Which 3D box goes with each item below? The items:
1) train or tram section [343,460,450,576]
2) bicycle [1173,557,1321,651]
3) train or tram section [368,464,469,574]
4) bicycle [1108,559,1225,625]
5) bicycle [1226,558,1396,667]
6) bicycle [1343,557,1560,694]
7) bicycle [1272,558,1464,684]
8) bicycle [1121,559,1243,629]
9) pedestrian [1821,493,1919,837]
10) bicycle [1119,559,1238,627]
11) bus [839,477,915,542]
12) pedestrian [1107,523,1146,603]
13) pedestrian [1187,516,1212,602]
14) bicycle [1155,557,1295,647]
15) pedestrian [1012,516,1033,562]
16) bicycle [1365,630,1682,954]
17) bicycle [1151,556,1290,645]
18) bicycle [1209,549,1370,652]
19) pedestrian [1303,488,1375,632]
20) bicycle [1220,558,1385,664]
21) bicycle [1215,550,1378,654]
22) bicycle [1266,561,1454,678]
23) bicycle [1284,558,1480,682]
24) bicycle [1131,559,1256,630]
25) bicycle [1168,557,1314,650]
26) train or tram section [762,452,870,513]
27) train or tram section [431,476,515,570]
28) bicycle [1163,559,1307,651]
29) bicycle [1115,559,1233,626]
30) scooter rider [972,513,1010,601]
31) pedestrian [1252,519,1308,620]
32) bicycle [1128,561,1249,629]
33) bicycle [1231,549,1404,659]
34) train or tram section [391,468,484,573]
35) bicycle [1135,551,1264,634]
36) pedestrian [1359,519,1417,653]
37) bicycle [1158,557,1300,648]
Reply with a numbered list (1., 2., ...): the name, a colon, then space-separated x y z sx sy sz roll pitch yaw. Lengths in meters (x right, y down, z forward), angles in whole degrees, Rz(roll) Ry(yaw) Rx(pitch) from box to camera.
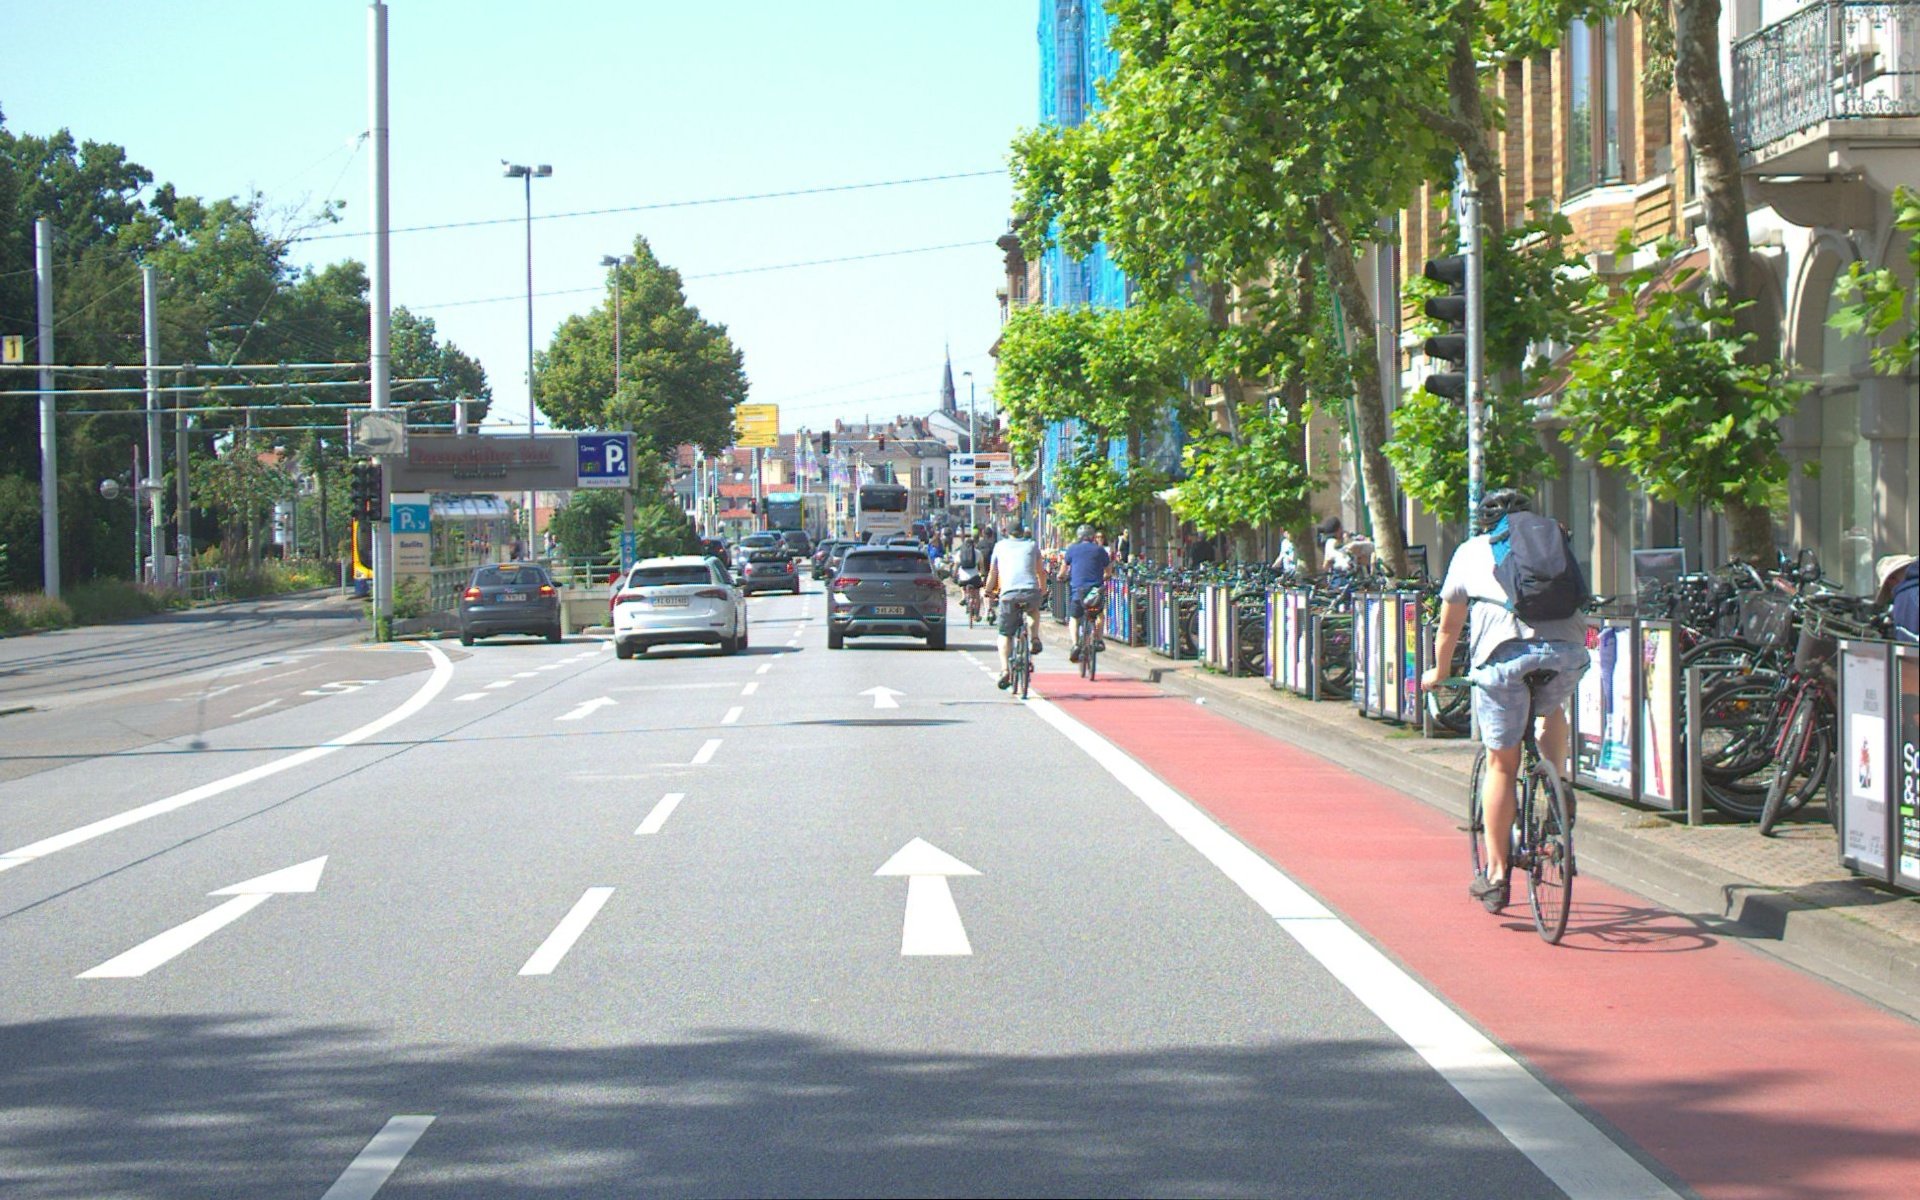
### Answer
1. train or tram section: -18.023 -2.610 110.264 2.613 3.569 6.104 1 1 -2
2. bicycle: 3.531 0.047 42.346 1.752 1.143 0.483 0 1 -4
3. train or tram section: -18.274 -2.706 116.360 2.613 3.569 6.104 1 1 -2
4. bicycle: 3.196 -0.124 53.226 1.752 1.014 0.483 0 1 -4
5. bicycle: 3.758 0.129 36.837 1.752 1.143 0.483 0 1 -4
6. bicycle: 4.161 0.209 29.141 1.752 1.143 0.483 0 1 -4
7. bicycle: 3.888 0.199 32.816 1.752 1.183 0.483 0 1 -4
8. bicycle: 3.297 -0.091 51.061 1.752 1.014 0.483 0 1 -4
9. pedestrian: 4.352 0.291 15.699 0.604 1.533 0.667 1 1 -3
10. bicycle: 3.311 -0.109 52.112 1.752 1.014 0.483 0 1 -4
11. bus: -3.806 -4.071 156.020 2.968 2.767 8.643 1 1 -4
12. pedestrian: 3.920 -0.871 80.752 0.814 1.842 0.891 -2 0 6
13. pedestrian: 4.696 -0.808 67.396 0.380 1.677 0.477 -2 0 -5
14. bicycle: 3.411 0.016 44.334 1.752 1.143 0.483 0 1 -4
15. pedestrian: 2.273 -2.211 124.681 0.654 1.615 0.815 -1 2 -3
16. bicycle: 2.129 0.693 13.288 0.734 1.089 2.131 1 1 -3
17. bicycle: 3.394 -0.001 44.830 1.752 1.143 0.483 0 1 -4
18. bicycle: 3.725 0.000 38.889 1.752 1.143 0.483 0 1 -4
19. pedestrian: 4.353 -0.457 39.506 0.652 1.628 0.730 1 1 -4
20. bicycle: 3.769 0.116 37.877 1.752 1.143 0.483 0 1 -4
21. bicycle: 3.750 0.013 38.378 1.752 1.143 0.483 0 1 -4
22. bicycle: 3.889 0.188 33.442 1.752 1.119 0.483 0 1 -4
23. bicycle: 3.950 0.179 32.222 1.752 1.143 0.483 0 1 -4
24. bicycle: 3.361 -0.081 49.576 1.752 1.014 0.483 0 1 -4
25. bicycle: 3.496 0.040 42.856 1.752 1.143 0.483 0 1 -4
26. train or tram section: -9.134 -7.438 219.297 2.826 3.569 10.020 2 1 22
27. train or tram section: -19.041 -2.993 134.626 2.613 3.569 6.018 1 1 -2
28. bicycle: 3.461 0.055 43.356 1.752 1.143 0.483 0 1 -4
29. bicycle: 3.282 -0.117 52.685 1.752 1.014 0.483 0 1 -4
30. scooter rider: 0.609 -0.853 67.915 0.688 1.723 0.778 1 1 -2
31. pedestrian: 5.250 -0.505 56.425 0.599 1.620 0.644 -4 1 -20
32. bicycle: 3.333 -0.080 50.234 1.717 0.981 0.483 0 1 -4
33. bicycle: 3.761 0.041 36.262 1.752 1.143 0.499 0 1 -4
34. train or tram section: -18.511 -2.796 122.078 2.613 3.569 5.358 1 1 -2
35. bicycle: 3.356 -0.107 48.286 1.752 1.143 0.483 0 1 -4
36. pedestrian: 5.739 -0.193 46.151 0.668 1.775 0.985 -1 1 2
37. bicycle: 3.428 0.023 43.855 1.752 1.143 0.483 0 1 -4
